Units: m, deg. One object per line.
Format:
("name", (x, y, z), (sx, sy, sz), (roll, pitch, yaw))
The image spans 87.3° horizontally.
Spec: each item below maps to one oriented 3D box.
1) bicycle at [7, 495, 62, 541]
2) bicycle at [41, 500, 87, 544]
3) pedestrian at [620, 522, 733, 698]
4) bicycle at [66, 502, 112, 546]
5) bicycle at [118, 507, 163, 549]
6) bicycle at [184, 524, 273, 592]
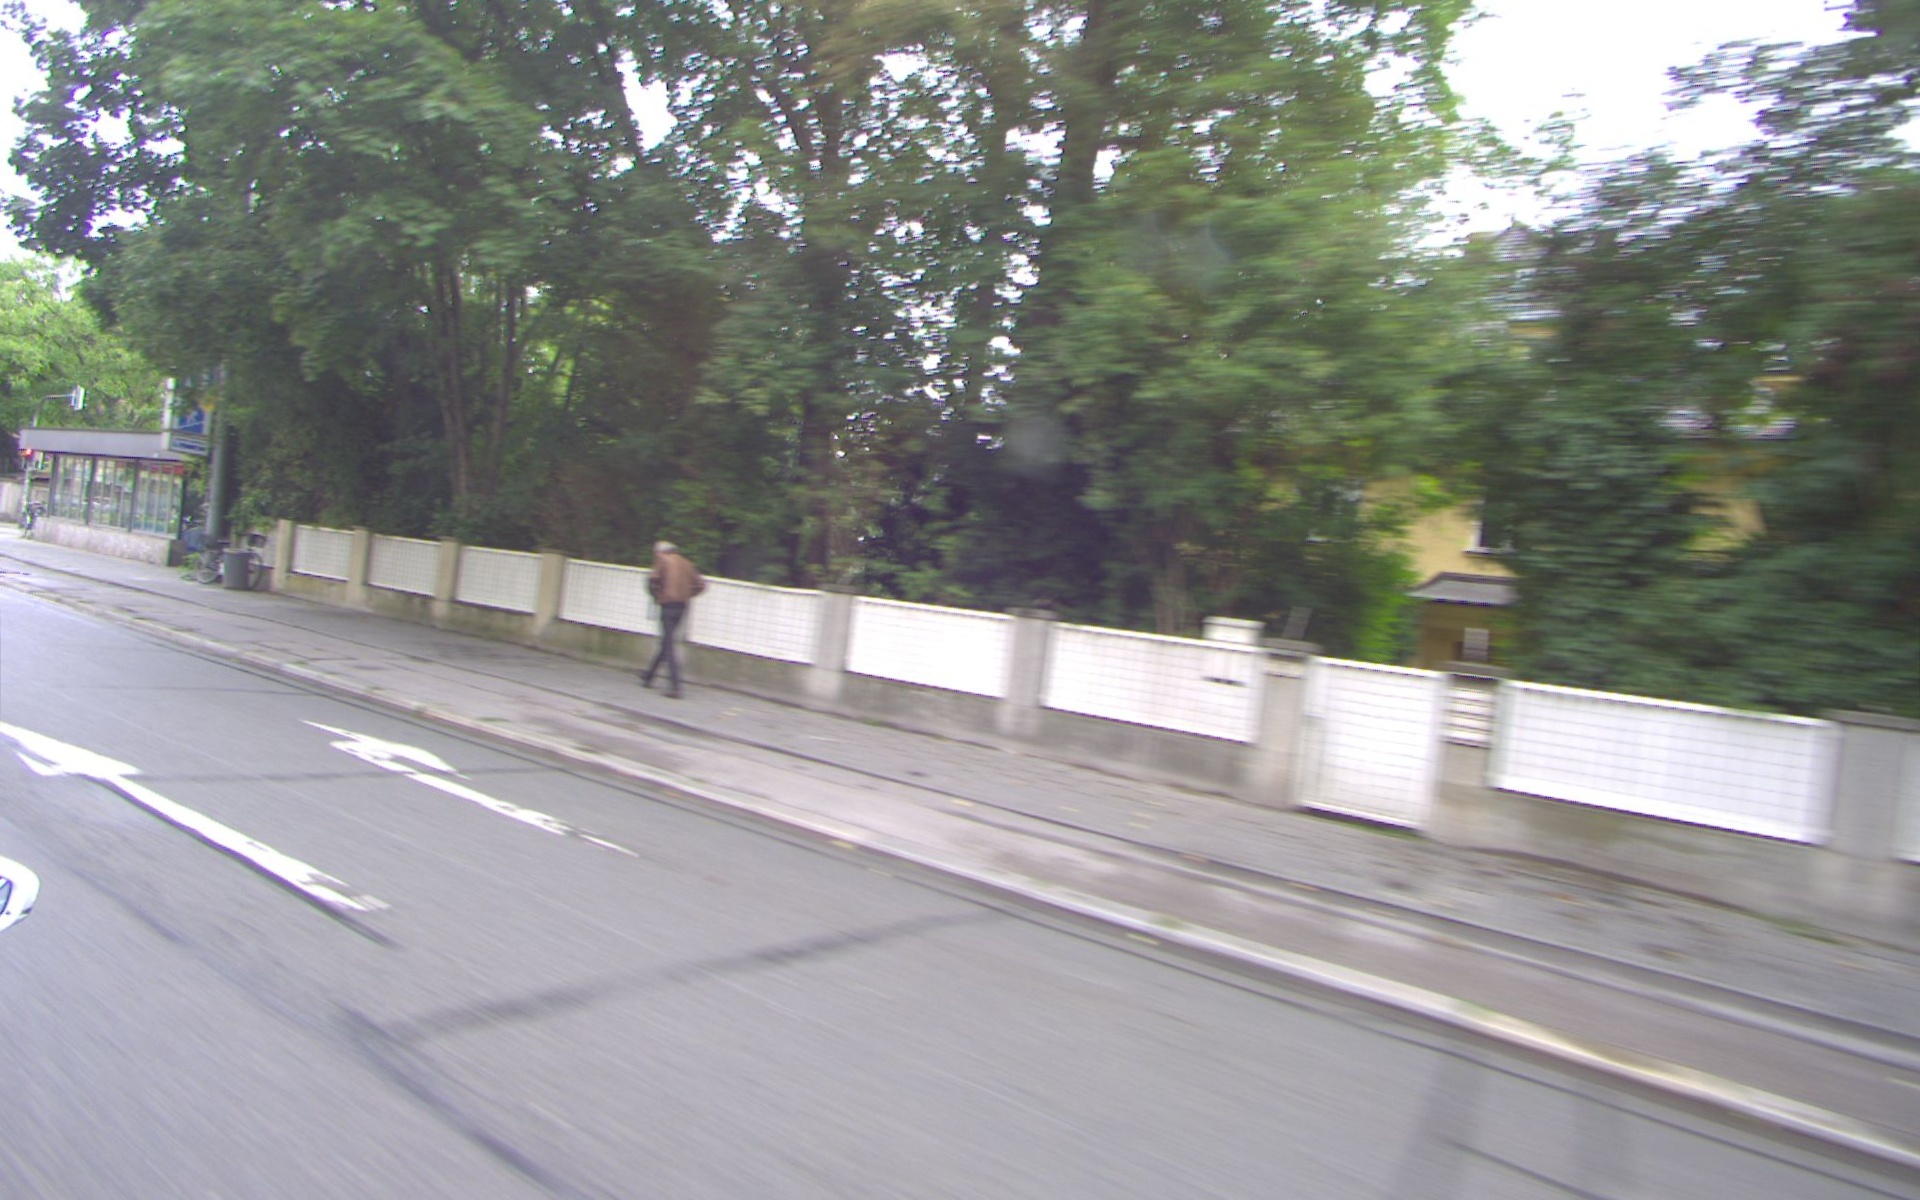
("bicycle", (-26.372, -2.332, 28.657), (1.859, 1.135, 0.600), (6, 0, 32))
("bicycle", (-26.045, -2.282, 29.224), (1.707, 1.135, 0.469), (6, 0, 32))
("pedestrian", (-3.381, 0.127, 12.017), (0.789, 1.967, 0.778), (8, 2, 32))
("bicycle", (-25.745, -2.247, 29.720), (1.707, 1.135, 0.469), (6, 0, 32))
("bicycle", (-25.087, -2.206, 30.777), (1.707, 1.135, 0.469), (6, 0, 32))
("bicycle", (-14.420, -0.831, 19.819), (1.992, 1.104, 0.623), (7, 0, 32))
